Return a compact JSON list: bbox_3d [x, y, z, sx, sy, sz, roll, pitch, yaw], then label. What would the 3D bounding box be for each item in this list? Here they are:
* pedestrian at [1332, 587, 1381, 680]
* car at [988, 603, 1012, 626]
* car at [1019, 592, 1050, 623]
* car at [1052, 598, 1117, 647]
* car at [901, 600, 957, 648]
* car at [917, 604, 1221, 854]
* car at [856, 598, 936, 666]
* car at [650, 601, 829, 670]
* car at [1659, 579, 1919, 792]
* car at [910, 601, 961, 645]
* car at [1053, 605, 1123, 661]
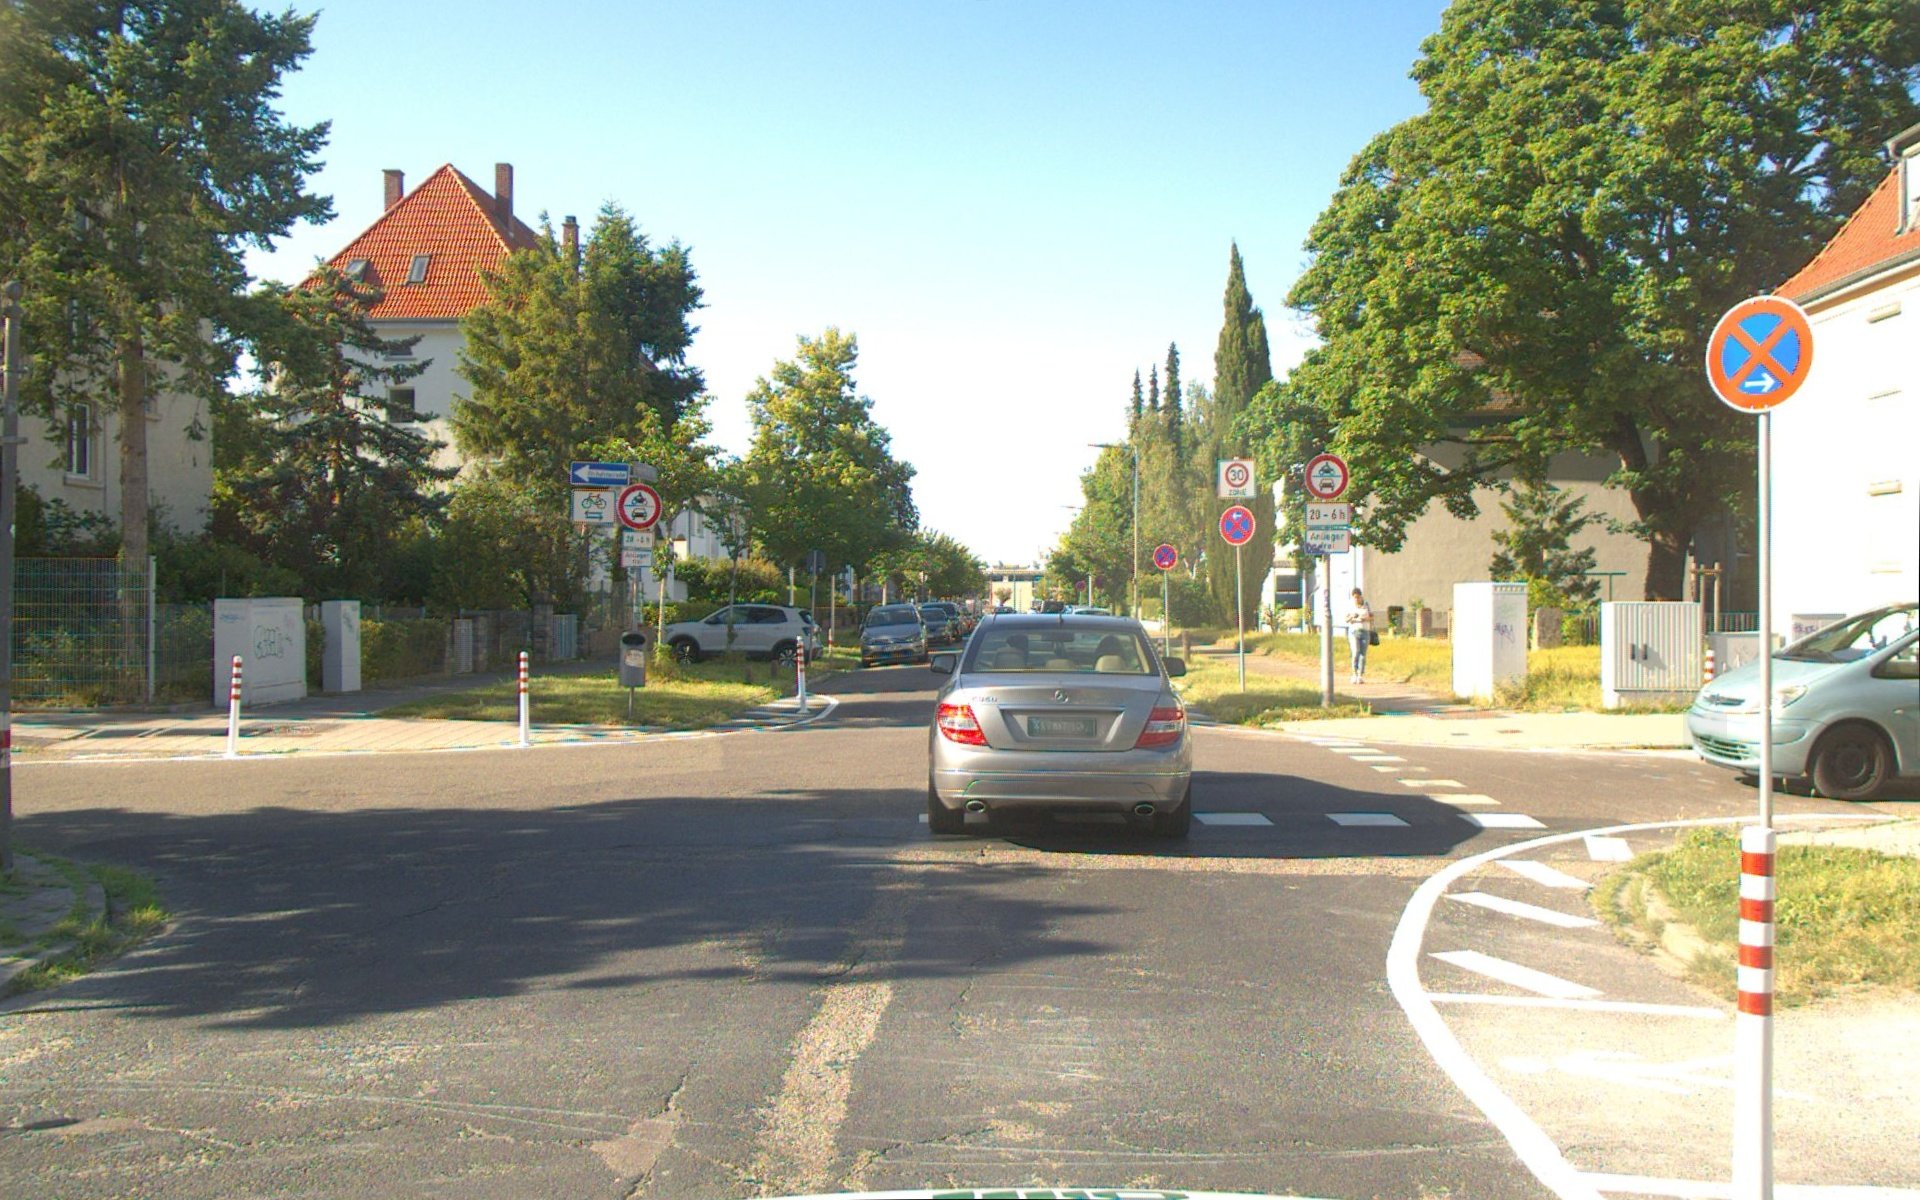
[{"bbox_3d":[7.058,0.588,29.477,0.750,1.639,0.835,-1,0,7],"label":"pedestrian"},{"bbox_3d":[2.870,1.037,119.075,1.564,1.638,3.643,-1,0,0],"label":"car"},{"bbox_3d":[4.585,0.474,102.797,1.816,1.873,4.001,-1,0,1],"label":"car"},{"bbox_3d":[4.313,0.766,57.908,1.953,1.638,4.000,-1,0,0],"label":"car"},{"bbox_3d":[-1.133,0.881,62.832,1.953,1.637,4.000,-4,0,0],"label":"car"},{"bbox_3d":[0.748,0.770,11.834,1.798,1.466,4.001,0,0,3],"label":"car"},{"bbox_3d":[-1.693,0.824,45.027,1.953,1.637,4.000,-4,0,0],"label":"car"},{"bbox_3d":[-5.275,0.844,39.970,4.107,1.591,1.842,0,0,-1],"label":"car"},{"bbox_3d":[8.234,0.644,13.637,4.145,1.637,1.889,-1,0,3],"label":"car"},{"bbox_3d":[-1.002,0.919,68.626,1.953,1.637,4.000,-4,0,0],"label":"car"},{"bbox_3d":[3.607,0.912,47.193,1.698,1.505,3.725,-1,0,0],"label":"car"}]
